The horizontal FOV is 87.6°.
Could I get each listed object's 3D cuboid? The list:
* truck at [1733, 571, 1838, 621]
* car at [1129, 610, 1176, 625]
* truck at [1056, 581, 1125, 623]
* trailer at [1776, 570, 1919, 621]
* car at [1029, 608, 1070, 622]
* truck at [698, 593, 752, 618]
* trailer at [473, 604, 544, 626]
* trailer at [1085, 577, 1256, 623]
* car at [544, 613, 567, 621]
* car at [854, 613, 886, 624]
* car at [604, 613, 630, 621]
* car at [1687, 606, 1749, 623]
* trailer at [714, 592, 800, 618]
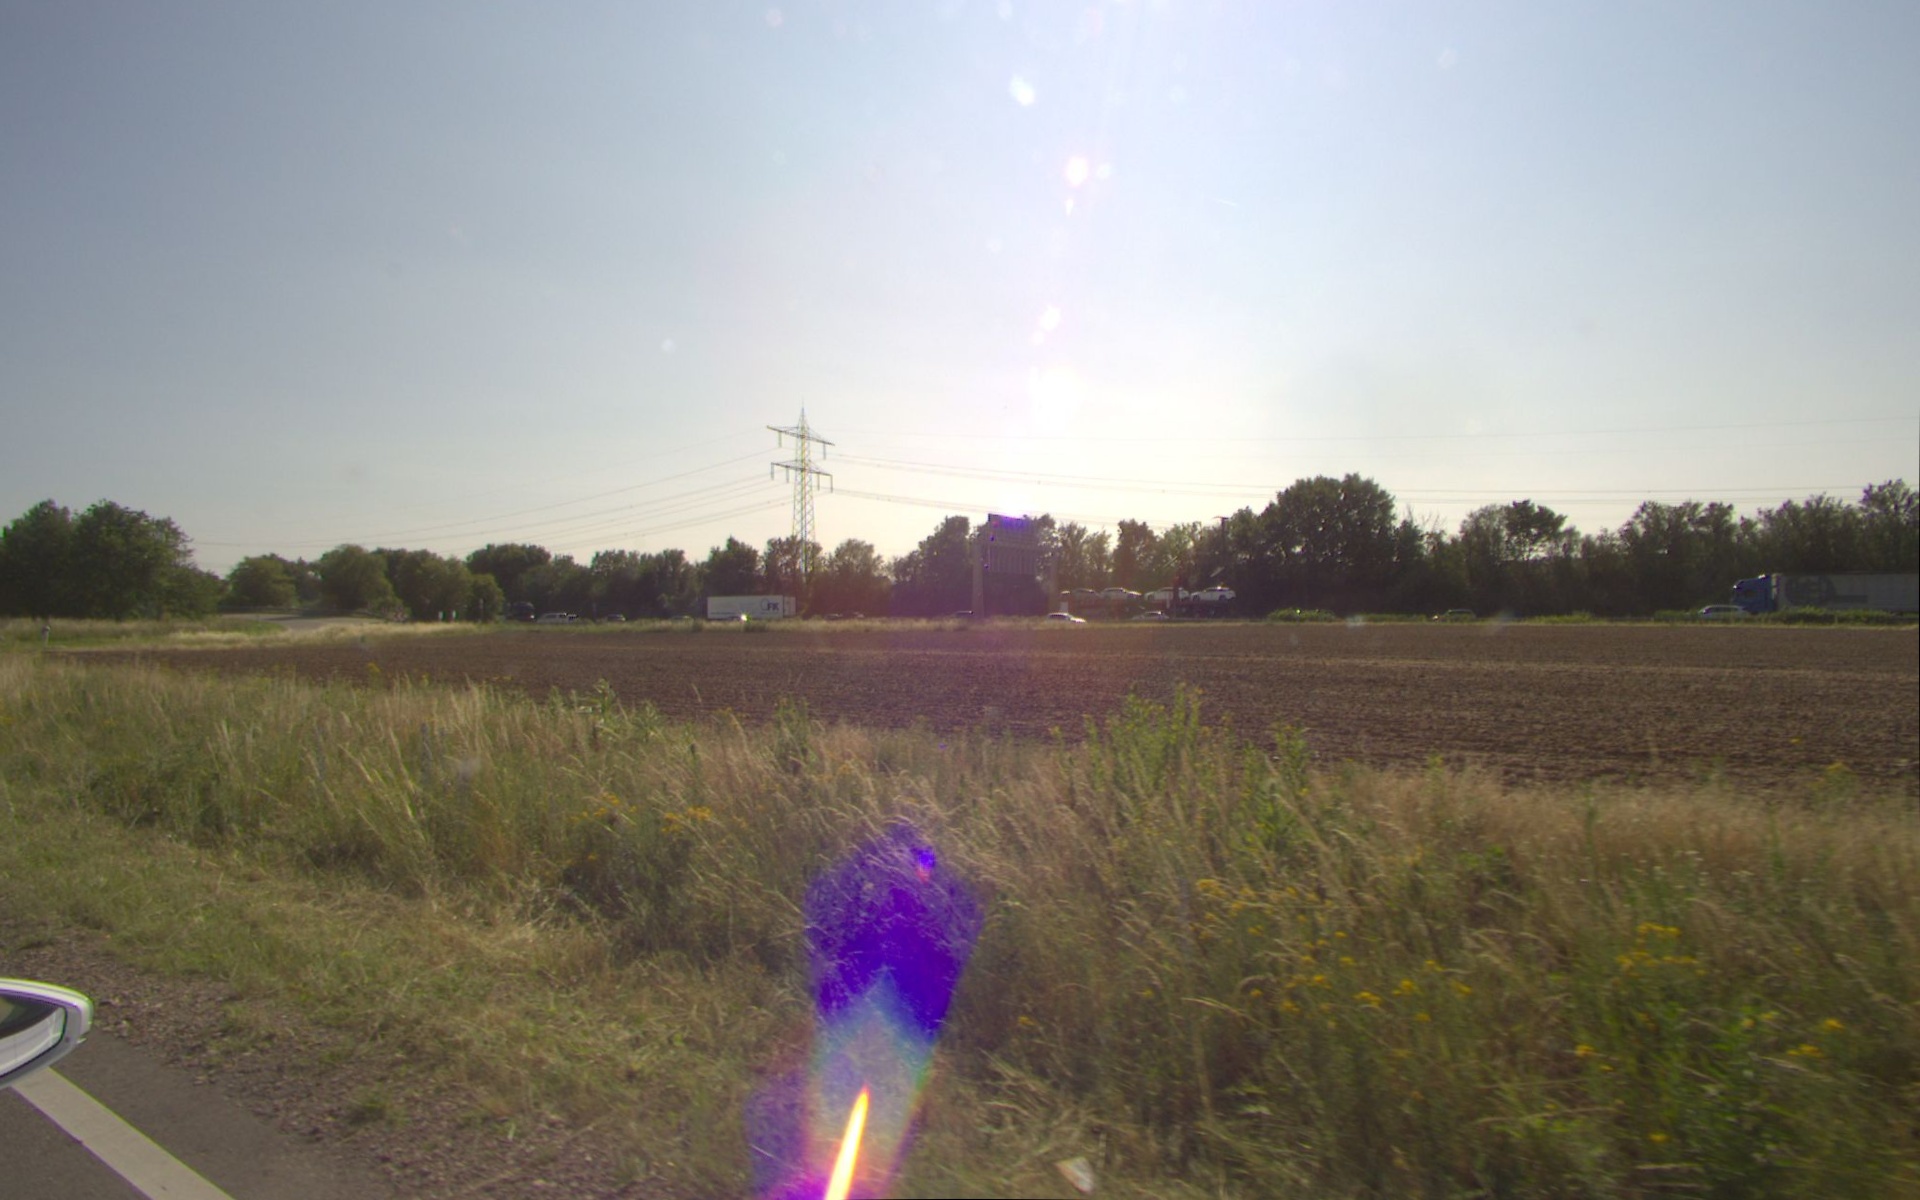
[{"bbox_3d":[64.765,-0.221,78.730,6.001,3.782,3.065,0,-1,33],"label":"truck"},{"bbox_3d":[18.852,1.715,98.229,4.186,1.403,1.848,0,-1,32],"label":"car"},{"bbox_3d":[14.172,0.248,108.703,6.606,4.512,3.416,-1,0,30],"label":"truck"},{"bbox_3d":[70.127,-0.300,75.195,13.438,3.782,3.065,-1,-1,33],"label":"trailer"},{"bbox_3d":[8.464,1.450,94.782,3.566,1.250,1.544,0,-3,32],"label":"car"},{"bbox_3d":[-32.353,0.733,137.600,6.876,3.310,3.279,-1,0,31],"label":"truck"},{"bbox_3d":[-72.447,2.339,160.515,13.253,3.310,3.279,0,0,31],"label":"trailer"},{"bbox_3d":[21.692,0.128,104.366,17.301,4.512,3.416,-1,0,30],"label":"trailer"},{"bbox_3d":[-58.076,2.442,143.700,3.135,1.166,1.392,0,-1,32],"label":"car"},{"bbox_3d":[-10.426,2.139,116.045,3.527,1.166,1.393,0,-1,30],"label":"car"},{"bbox_3d":[-46.990,2.334,137.219,3.527,1.166,1.393,0,-1,30],"label":"car"},{"bbox_3d":[56.576,1.078,74.812,3.530,1.166,1.392,0,-1,32],"label":"car"},{"bbox_3d":[-27.329,0.664,134.648,12.272,3.310,3.279,-1,0,31],"label":"trailer"}]
